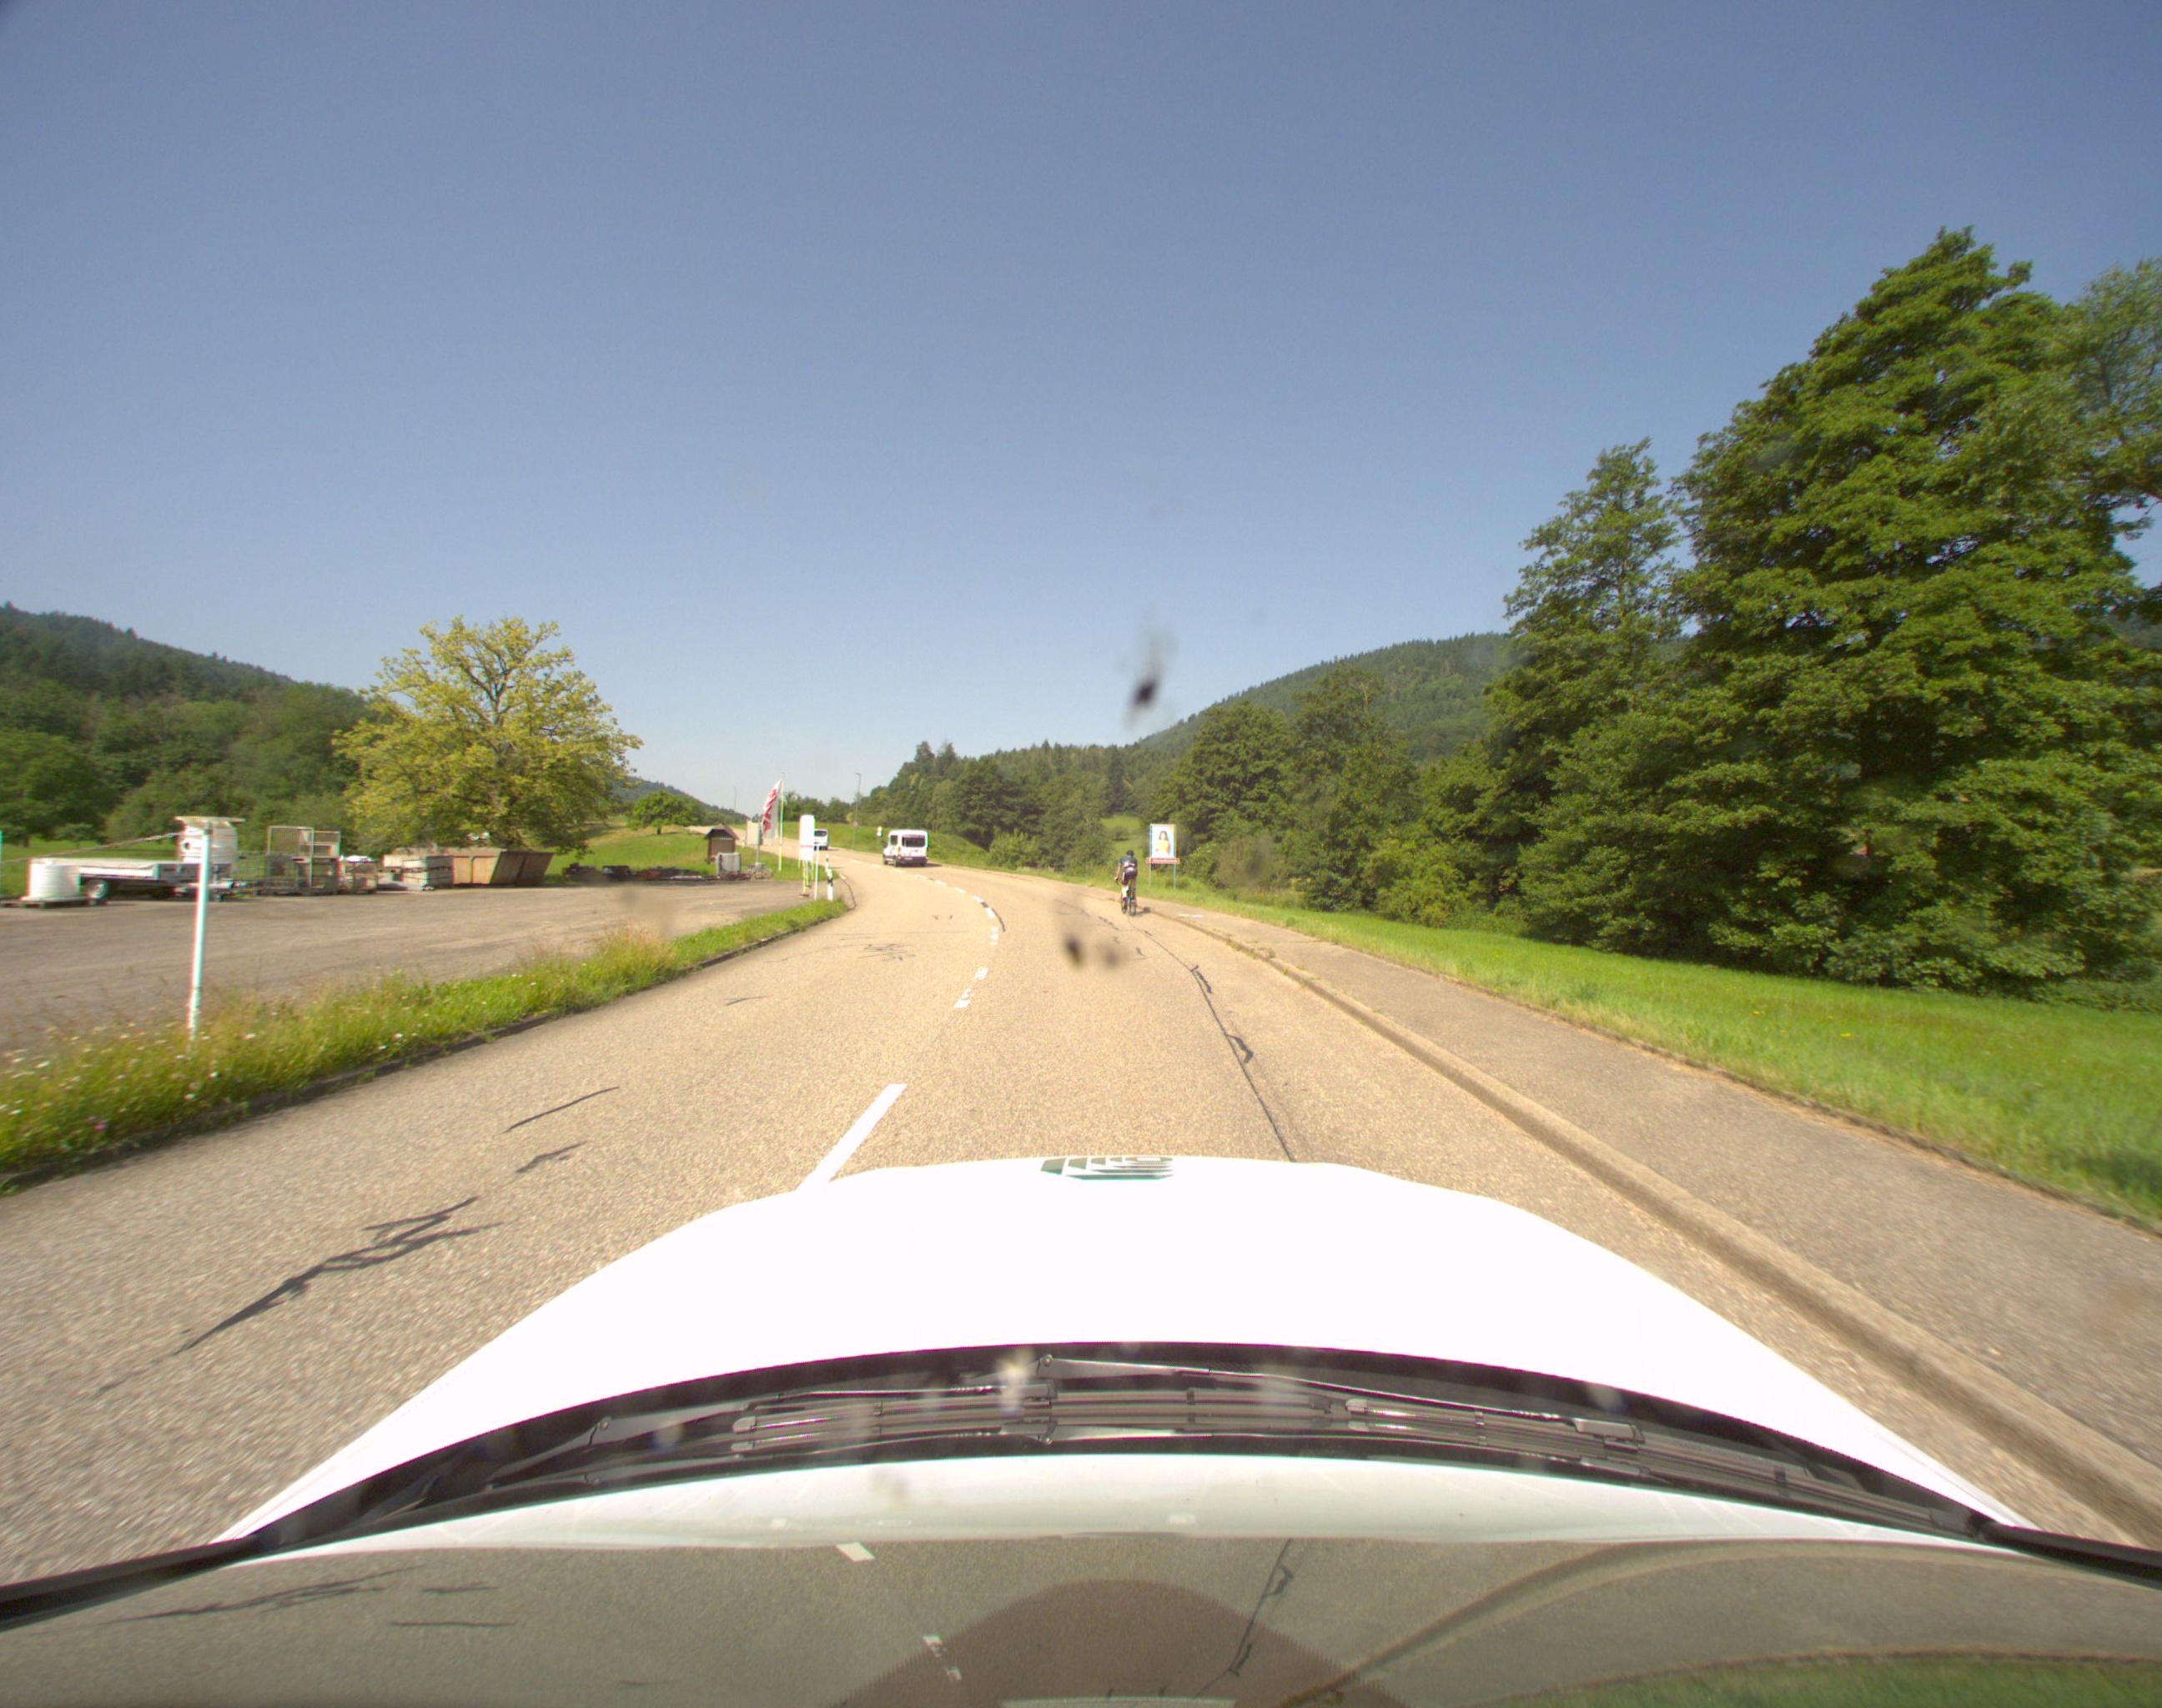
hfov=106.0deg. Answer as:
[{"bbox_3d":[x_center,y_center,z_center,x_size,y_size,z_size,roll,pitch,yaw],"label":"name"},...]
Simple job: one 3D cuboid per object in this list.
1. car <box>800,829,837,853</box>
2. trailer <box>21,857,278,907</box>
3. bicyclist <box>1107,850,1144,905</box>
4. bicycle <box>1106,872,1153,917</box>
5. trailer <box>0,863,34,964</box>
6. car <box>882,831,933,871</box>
[{"bbox_3d":[-25.661,-1.260,79.446,2.238,2.286,4.934,-2,2,-32],"label":"car"},{"bbox_3d":[-22.144,0.670,19.492,3.919,0.939,1.867,3,-2,1],"label":"trailer"},{"bbox_3d":[1.127,0.567,20.630,0.580,1.342,1.139,-2,1,-15],"label":"bicyclist"},{"bbox_3d":[1.223,1.008,20.809,0.580,1.035,1.980,-2,1,-15],"label":"bicycle"},{"bbox_3d":[-14.266,0.656,7.515,1.988,1.226,5.543,3,-1,-1],"label":"trailer"},{"bbox_3d":[-11.751,-0.235,54.826,2.234,2.525,4.943,-2,2,-26],"label":"car"}]
